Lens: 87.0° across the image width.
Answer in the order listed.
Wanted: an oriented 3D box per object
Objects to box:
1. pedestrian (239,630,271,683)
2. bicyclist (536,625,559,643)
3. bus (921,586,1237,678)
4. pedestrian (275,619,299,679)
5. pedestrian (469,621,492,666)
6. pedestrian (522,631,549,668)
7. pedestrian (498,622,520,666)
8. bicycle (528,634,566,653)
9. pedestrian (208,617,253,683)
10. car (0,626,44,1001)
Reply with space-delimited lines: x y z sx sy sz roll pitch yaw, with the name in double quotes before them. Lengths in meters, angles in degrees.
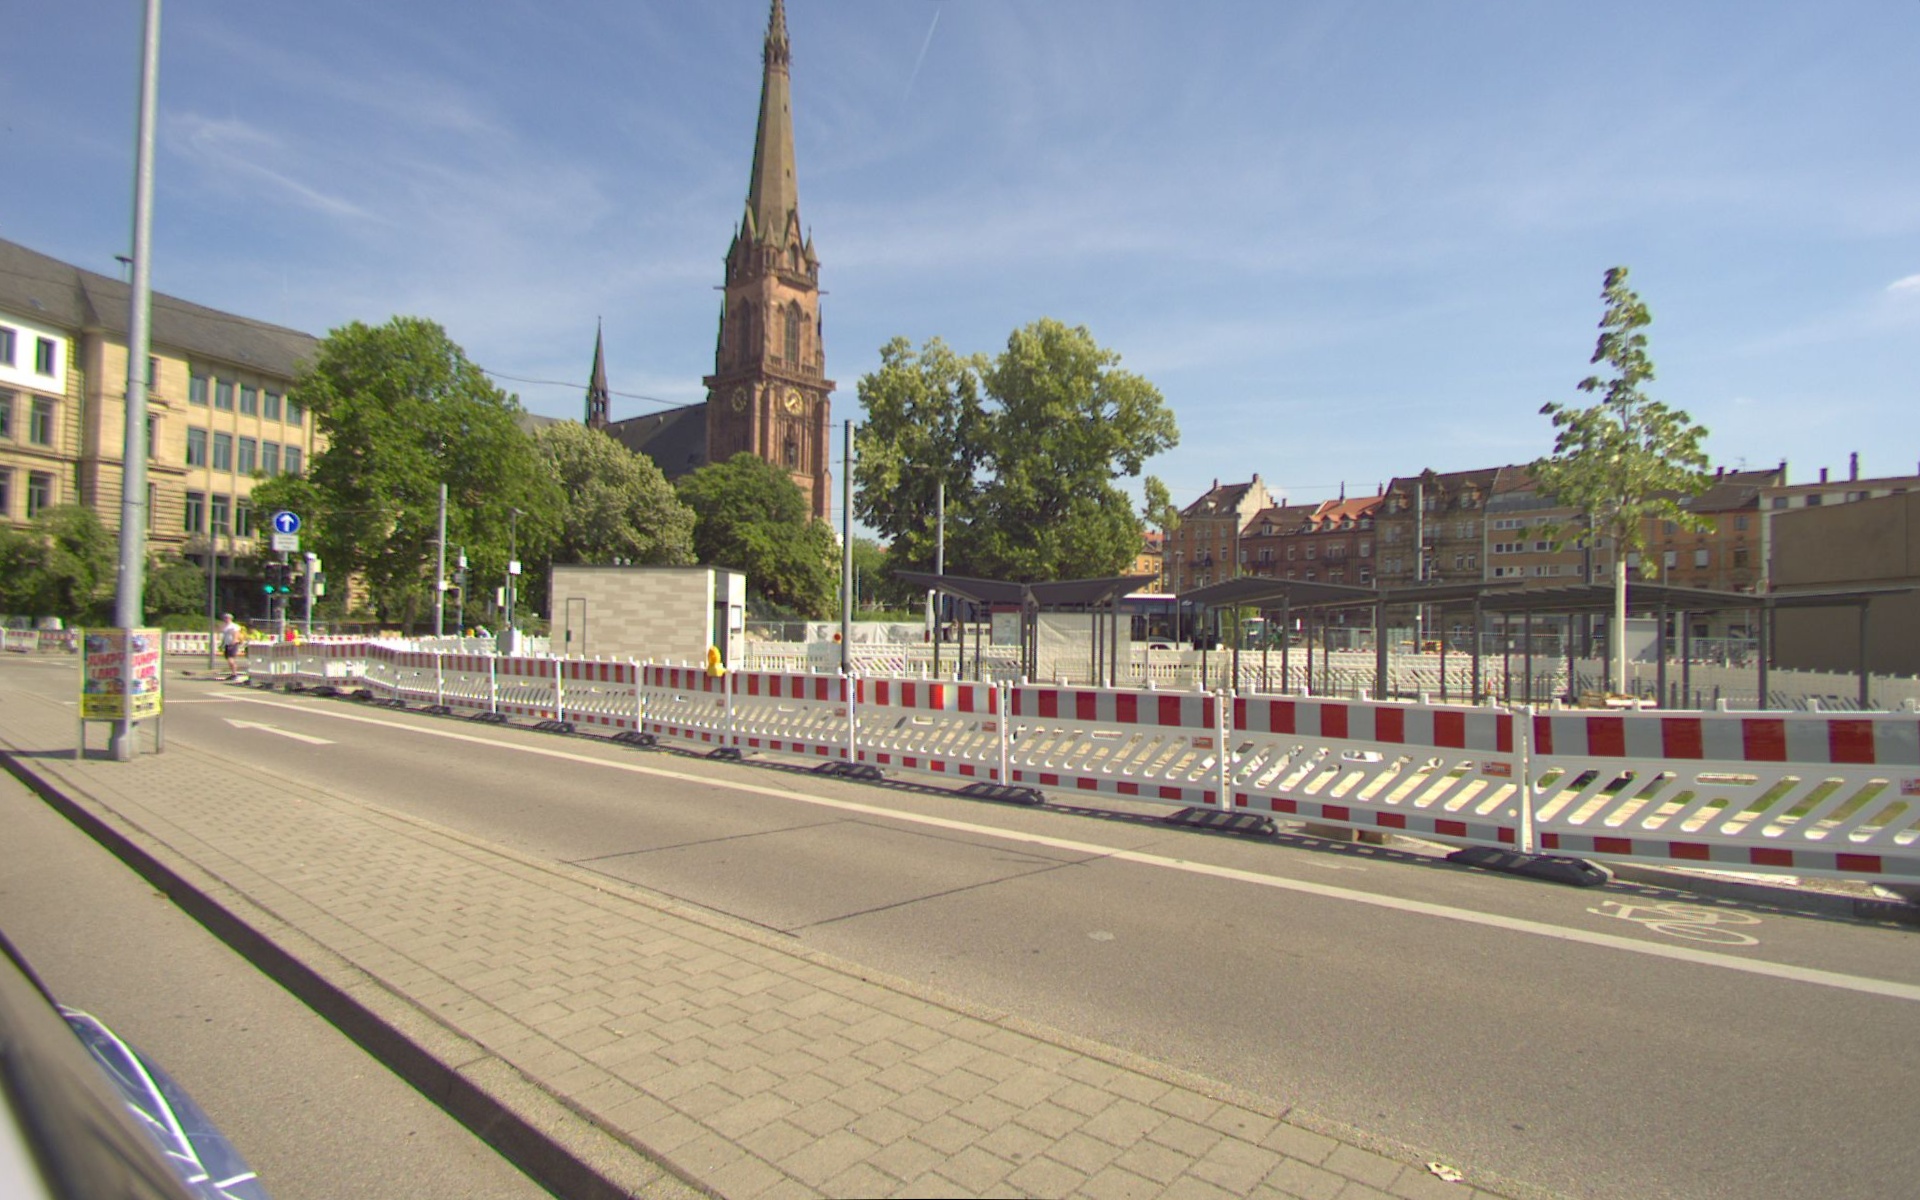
"pedestrian" -21.489 1.721 30.861 0.422 1.555 0.660 -1 0 33
"bicyclist" -21.156 1.752 51.898 0.858 0.934 0.682 1 -2 2
"bus" 4.787 1.310 41.775 12.504 3.516 2.856 0 -2 7
"pedestrian" -18.521 1.336 27.841 0.686 1.628 0.346 -1 -3 42
"pedestrian" -17.445 1.582 36.840 0.651 1.628 0.796 1 -2 -32
"pedestrian" -19.741 2.295 47.053 0.926 1.668 0.845 2 -3 -41
"pedestrian" -16.901 1.652 37.958 0.576 1.628 0.691 0 -2 -9
"bicycle" -21.164 2.216 51.872 1.643 0.954 0.701 1 -2 2
"pedestrian" -20.465 1.385 28.392 0.827 1.826 0.651 0 -2 -16
"car" -6.317 0.863 5.061 4.822 1.530 1.841 0 -2 39
